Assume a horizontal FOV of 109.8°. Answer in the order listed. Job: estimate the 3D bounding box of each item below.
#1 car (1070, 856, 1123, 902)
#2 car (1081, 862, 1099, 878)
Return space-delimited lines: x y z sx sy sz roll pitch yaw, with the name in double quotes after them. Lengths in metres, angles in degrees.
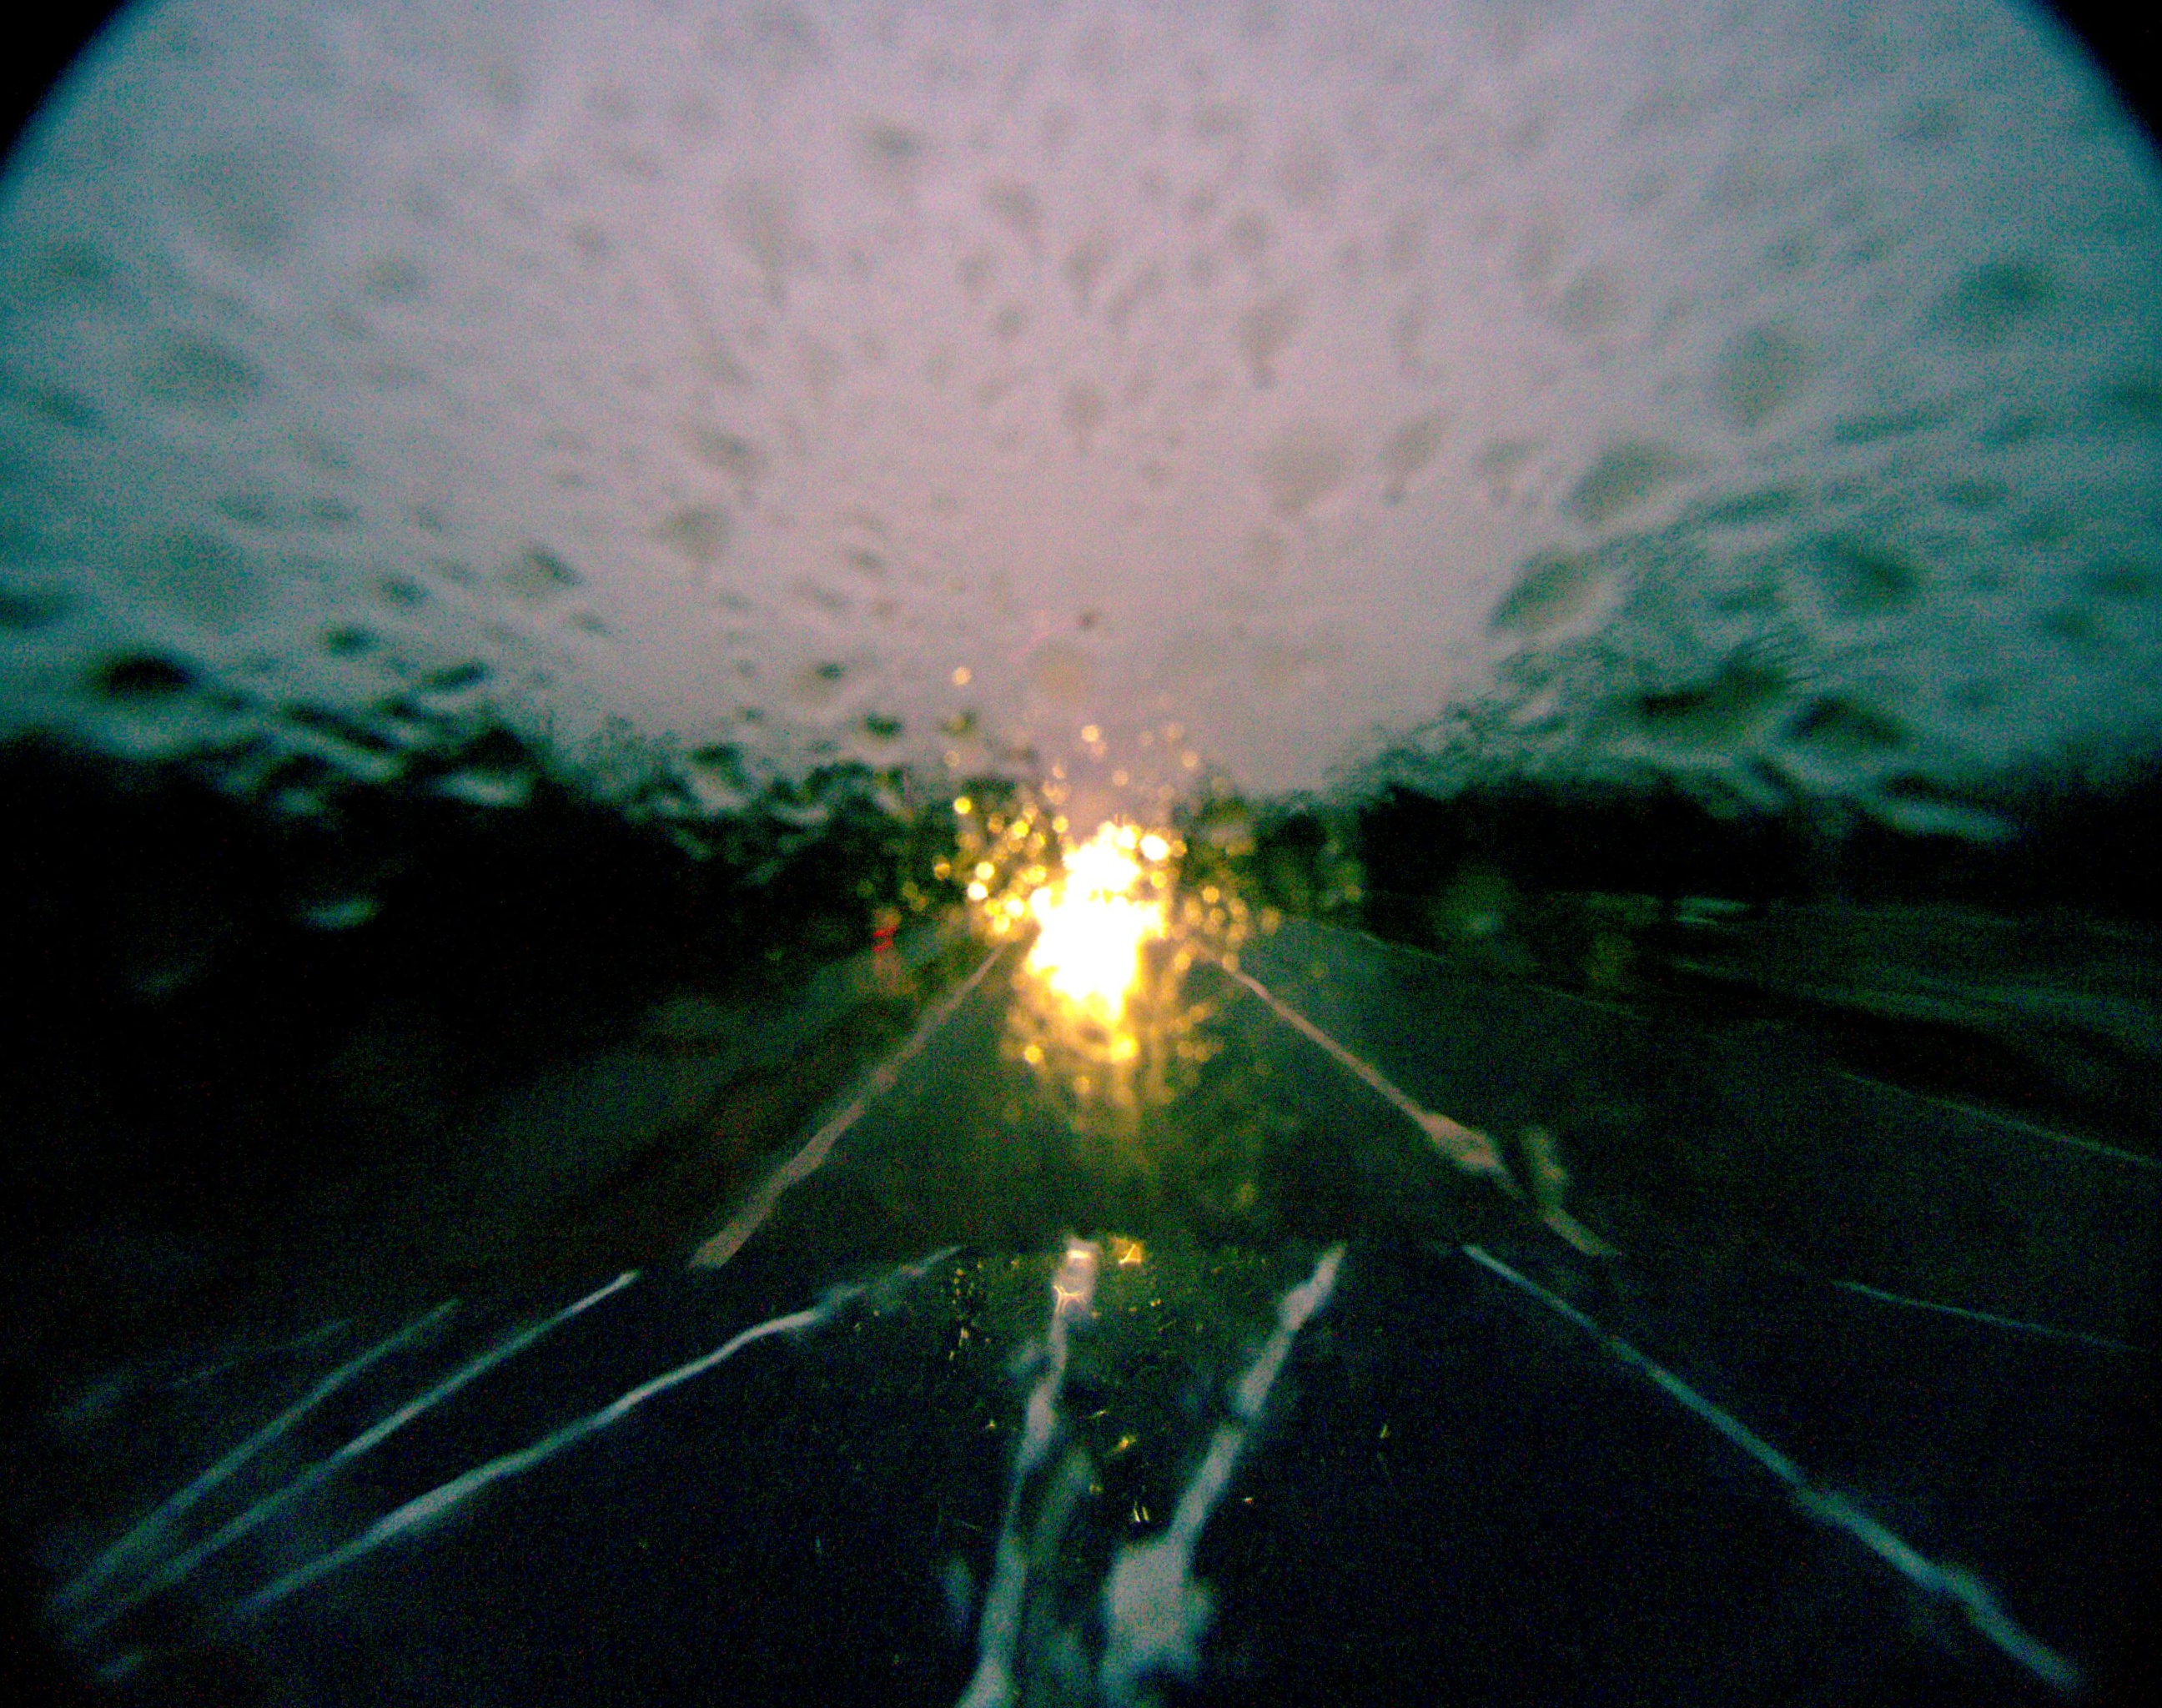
0.582 0.902 29.178 1.860 1.604 4.000 -1 0 1 "car"
1.054 1.843 87.971 1.998 1.612 4.000 -2 0 1 "car"
